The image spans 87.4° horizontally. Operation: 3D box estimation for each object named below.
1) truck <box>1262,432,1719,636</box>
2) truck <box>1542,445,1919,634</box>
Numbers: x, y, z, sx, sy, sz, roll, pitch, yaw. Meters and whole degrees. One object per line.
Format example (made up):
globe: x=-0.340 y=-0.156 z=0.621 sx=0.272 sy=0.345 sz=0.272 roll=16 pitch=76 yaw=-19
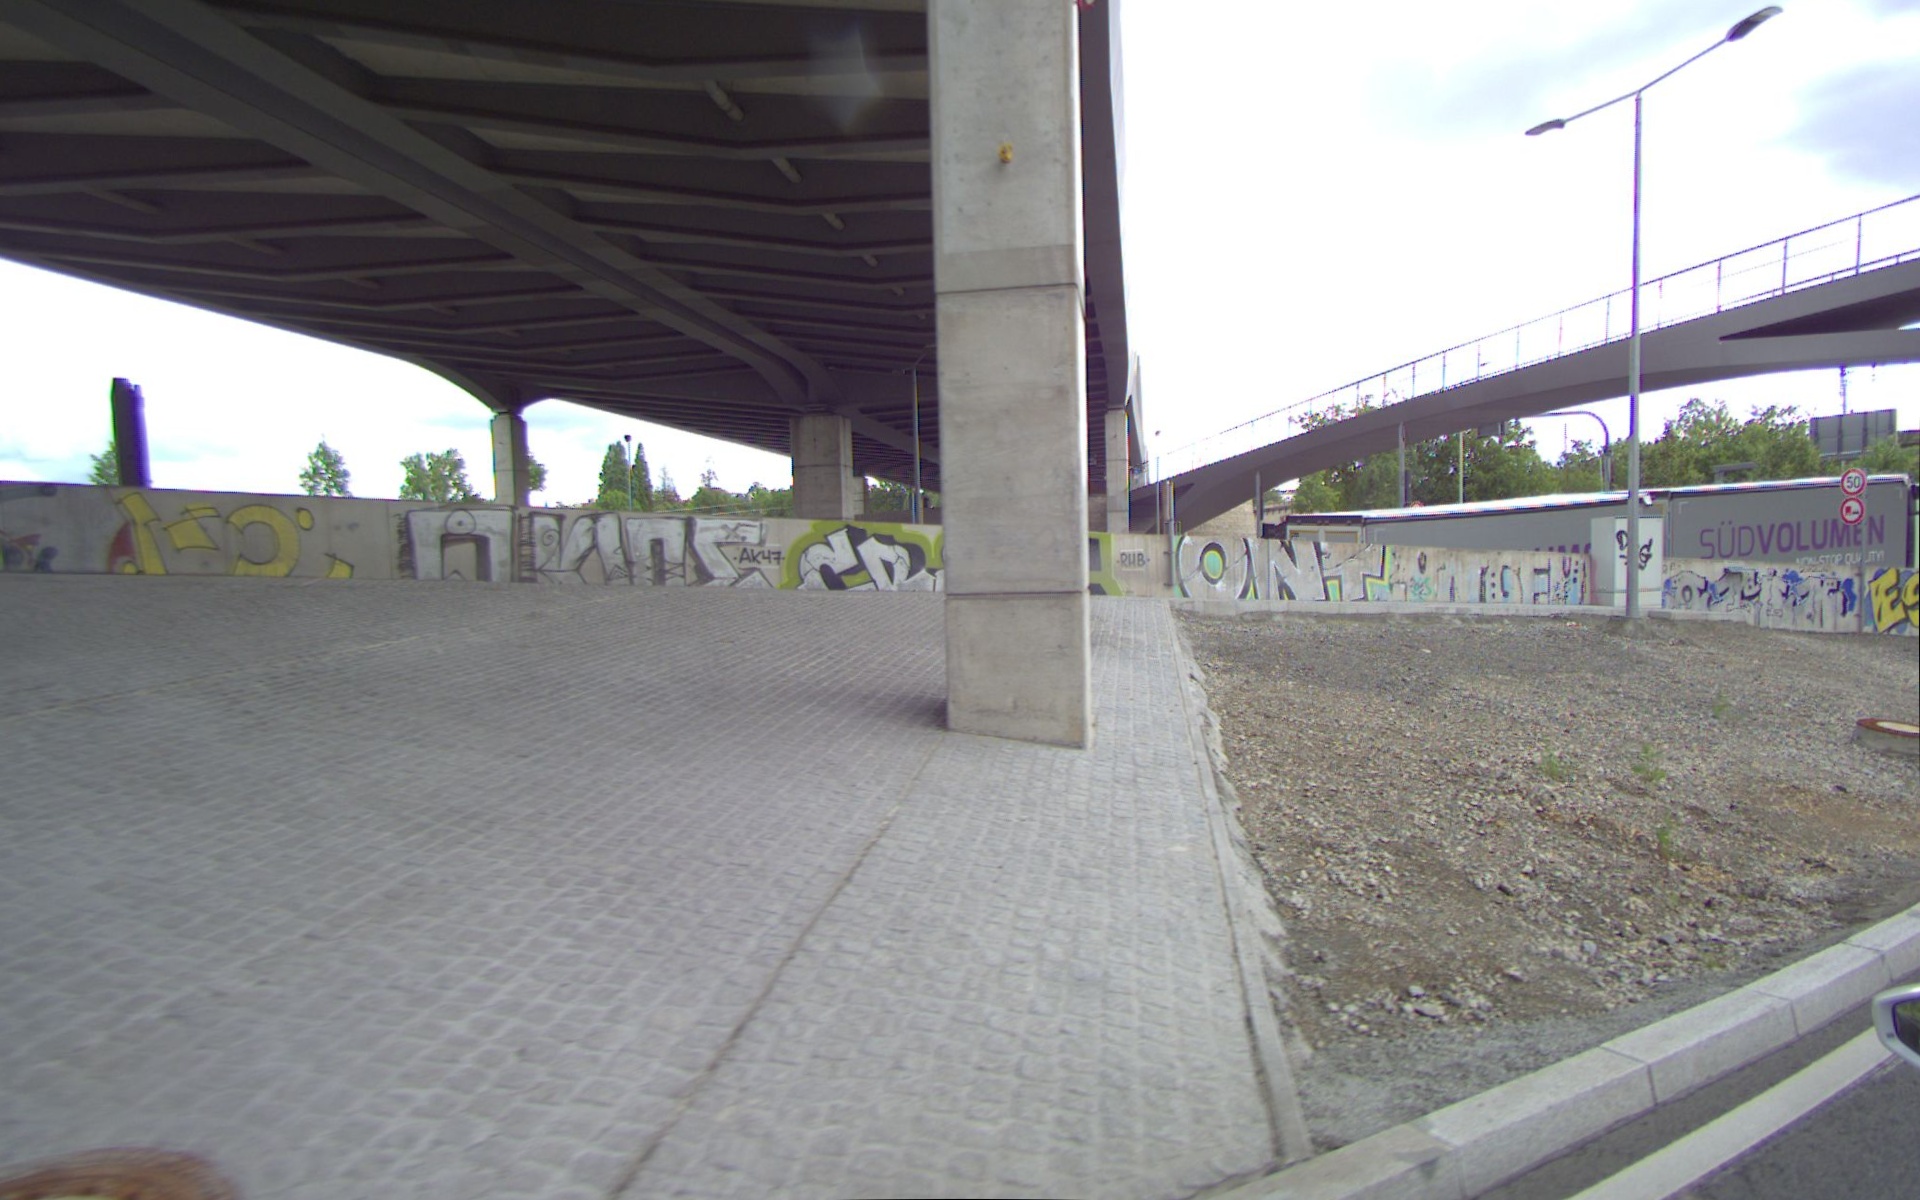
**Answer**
truck: x=12.169 y=-1.376 z=23.034 sx=10.035 sy=4.072 sz=2.916 roll=0 pitch=3 yaw=-17
truck: x=20.520 y=-1.418 z=25.602 sx=11.058 sy=4.233 sz=2.985 roll=0 pitch=3 yaw=-17
